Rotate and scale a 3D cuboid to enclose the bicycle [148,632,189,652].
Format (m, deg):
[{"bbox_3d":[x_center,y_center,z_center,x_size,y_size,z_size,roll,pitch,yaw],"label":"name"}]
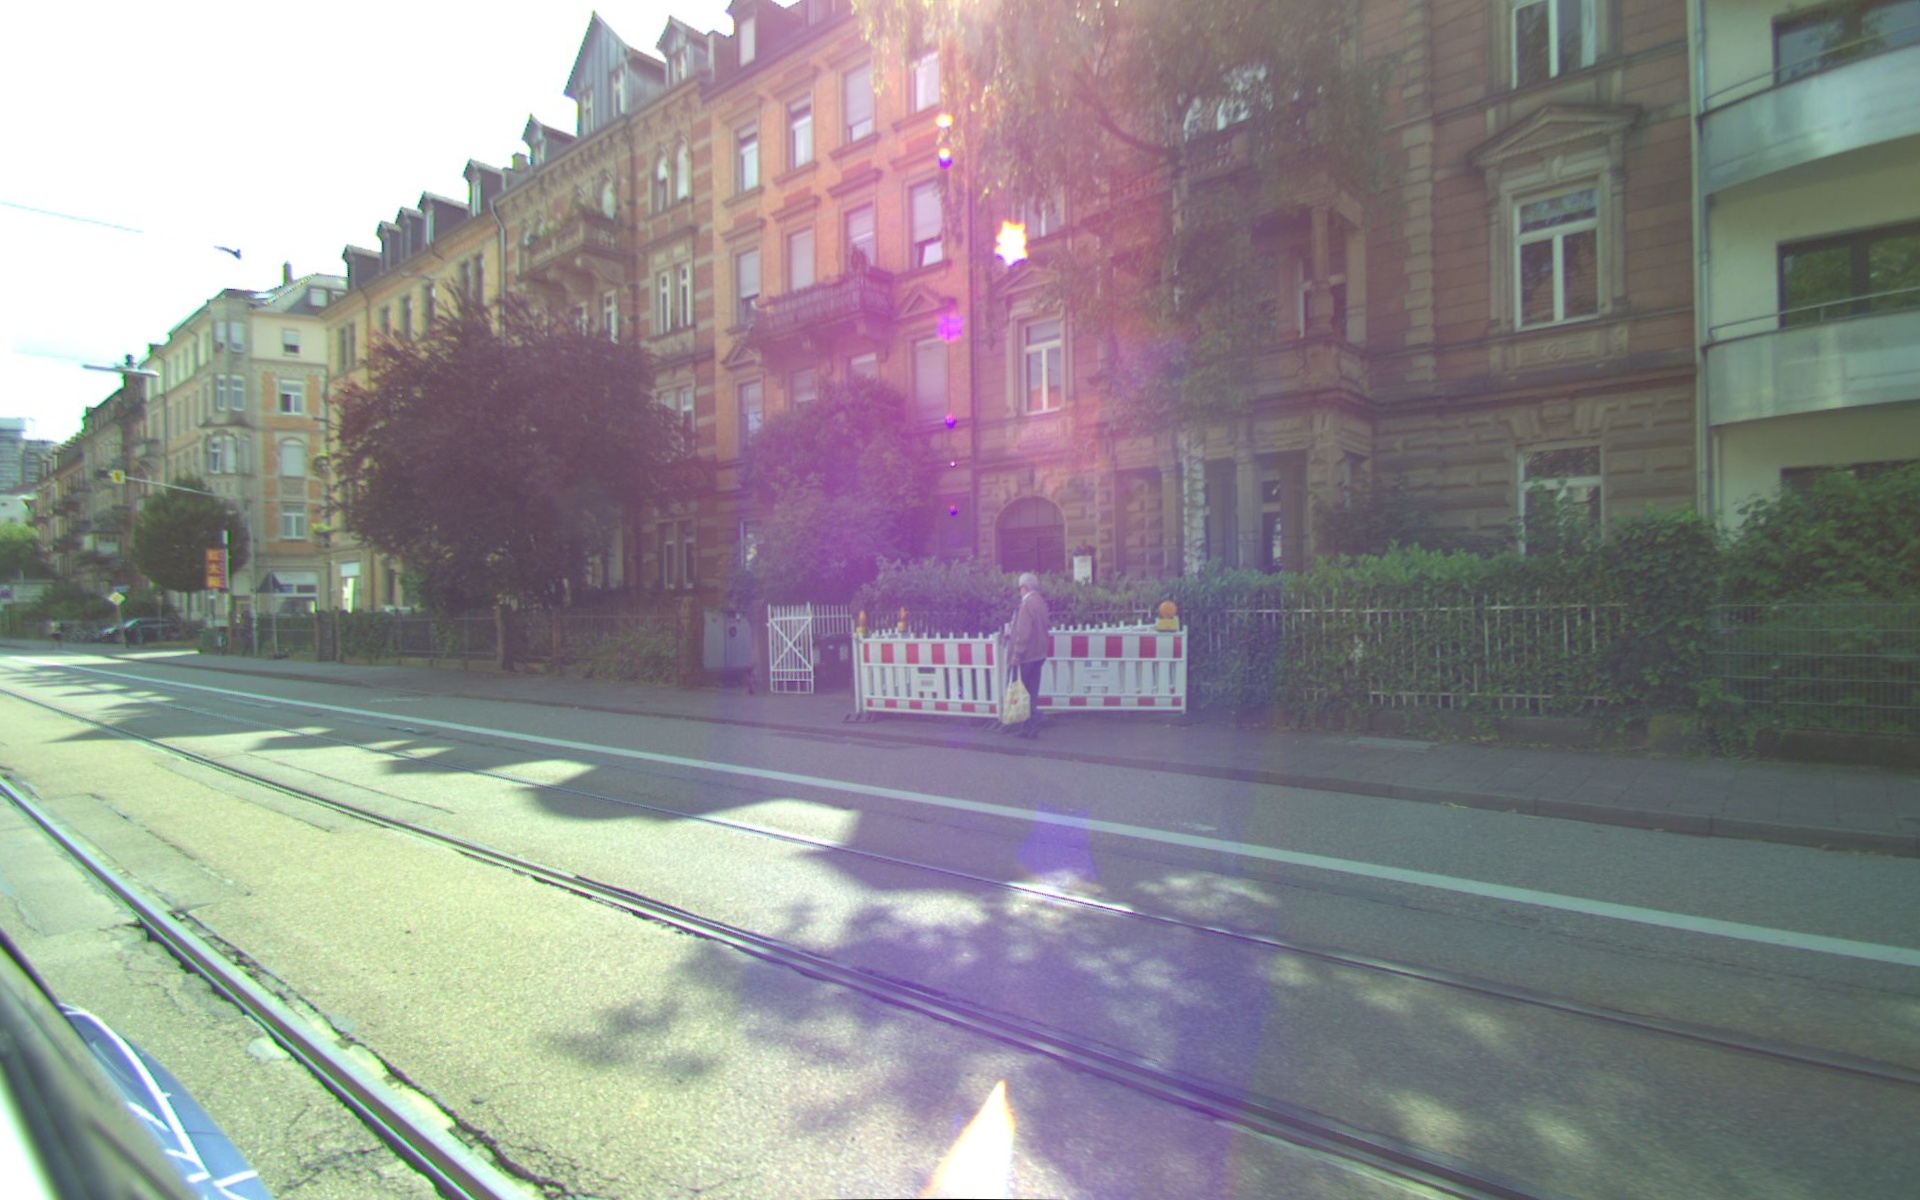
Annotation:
[{"bbox_3d":[-44.487,2.352,56.883,0.523,1.071,1.738,-3,-1,35],"label":"bicycle"}]

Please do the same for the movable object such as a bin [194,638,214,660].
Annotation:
[{"bbox_3d":[-31.075,2.006,41.597,0.635,0.912,0.520,-2,-1,39],"label":"movable object such as a bin"}]

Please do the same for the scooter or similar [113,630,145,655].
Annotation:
[{"bbox_3d":[-43.887,2.245,53.464,0.400,1.244,1.360,-1,0,12],"label":"scooter or similar"}]

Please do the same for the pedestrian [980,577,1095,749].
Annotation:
[{"bbox_3d":[0.825,0.640,10.709,0.890,1.719,0.815,-1,-1,38],"label":"pedestrian"}]

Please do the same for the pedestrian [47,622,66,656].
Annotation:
[{"bbox_3d":[-47.371,2.039,53.077,1.105,1.773,0.528,-2,1,40],"label":"pedestrian"}]

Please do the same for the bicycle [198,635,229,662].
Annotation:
[{"bbox_3d":[-28.261,1.827,38.325,1.966,0.954,0.524,-2,-1,41],"label":"bicycle"}]

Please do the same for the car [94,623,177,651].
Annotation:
[{"bbox_3d":[-48.073,2.141,59.046,1.787,1.413,3.563,-2,-1,45],"label":"car"}]

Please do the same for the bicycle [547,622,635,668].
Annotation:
[{"bbox_3d":[-8.812,1.051,24.234,0.465,1.027,2.188,-2,-1,30],"label":"bicycle"}]

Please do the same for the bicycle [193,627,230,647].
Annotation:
[{"bbox_3d":[-42.840,2.118,57.899,1.671,1.071,0.525,-1,-2,-39],"label":"bicycle"}]

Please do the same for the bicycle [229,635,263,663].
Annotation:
[{"bbox_3d":[-25.338,1.738,35.898,1.966,0.954,0.524,-2,-1,41],"label":"bicycle"}]

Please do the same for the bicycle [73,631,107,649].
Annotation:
[{"bbox_3d":[-50.491,2.310,58.730,0.404,0.984,1.438,-2,-2,40],"label":"bicycle"}]

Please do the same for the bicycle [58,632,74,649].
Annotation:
[{"bbox_3d":[-52.894,2.396,59.876,1.948,0.984,0.417,-2,-1,40],"label":"bicycle"}]

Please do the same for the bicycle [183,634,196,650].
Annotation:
[{"bbox_3d":[-42.308,2.315,55.573,0.516,0.844,1.702,-1,-2,-36],"label":"bicycle"}]

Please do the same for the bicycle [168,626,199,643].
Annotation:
[{"bbox_3d":[-47.883,2.139,62.398,0.404,0.984,1.438,-2,-2,40],"label":"bicycle"}]
